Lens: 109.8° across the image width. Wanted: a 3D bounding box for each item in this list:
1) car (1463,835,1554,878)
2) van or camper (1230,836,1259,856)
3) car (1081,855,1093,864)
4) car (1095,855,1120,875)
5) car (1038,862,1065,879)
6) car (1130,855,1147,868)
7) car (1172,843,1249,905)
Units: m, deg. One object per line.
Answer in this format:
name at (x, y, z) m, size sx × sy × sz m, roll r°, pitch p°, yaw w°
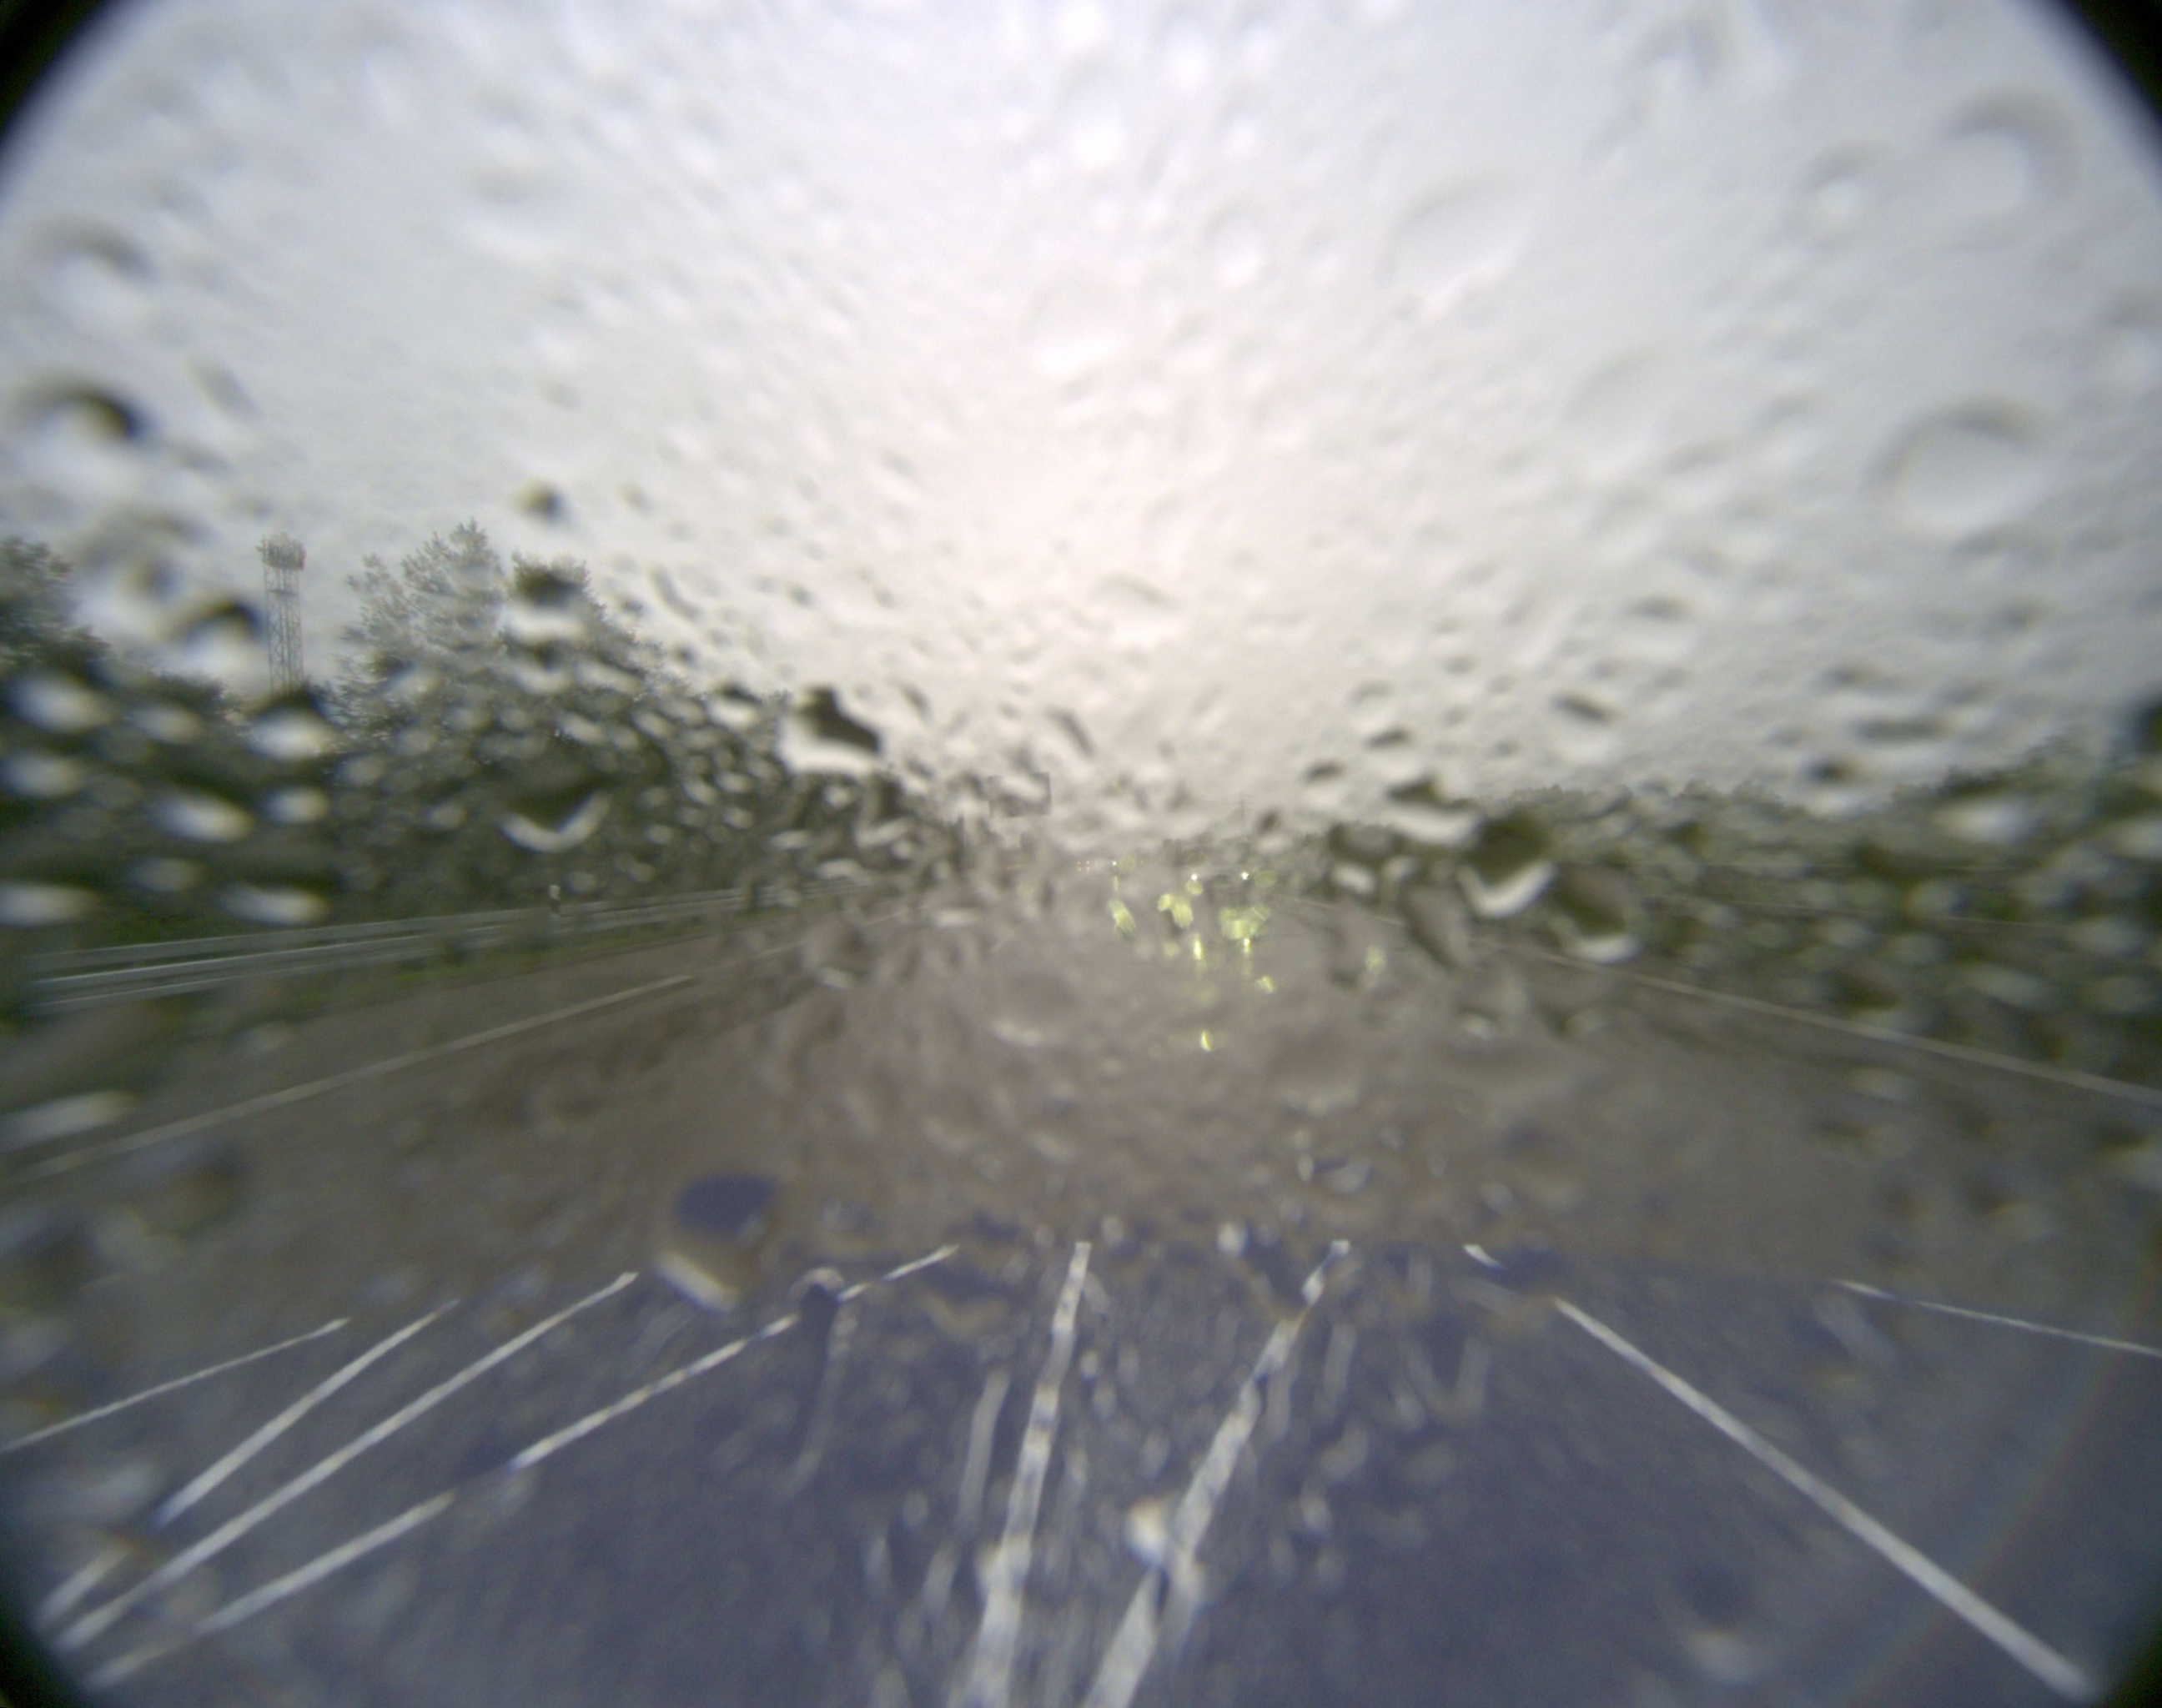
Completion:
car at (18.680, 0.099, 33.434) m, size 1.837 × 1.674 × 3.848 m, roll -2°, pitch 0°, yaw 1°
van or camper at (26.716, -1.310, 124.338) m, size 2.894 × 3.068 × 9.515 m, roll -3°, pitch 0°, yaw 2°
car at (0.968, 0.843, 120.987) m, size 1.753 × 1.205 × 4.001 m, roll -5°, pitch 0°, yaw 3°
car at (2.170, 0.893, 61.193) m, size 1.753 × 1.406 × 4.001 m, roll -5°, pitch 0°, yaw 3°
car at (-2.424, 1.363, 63.275) m, size 1.753 × 1.205 × 4.001 m, roll -5°, pitch 0°, yaw 3°
car at (6.476, 0.858, 86.393) m, size 1.753 × 1.369 × 4.001 m, roll -2°, pitch 0°, yaw 3°
car at (4.045, 0.576, 24.363) m, size 2.046 × 1.763 × 4.502 m, roll -1°, pitch 0°, yaw 5°
